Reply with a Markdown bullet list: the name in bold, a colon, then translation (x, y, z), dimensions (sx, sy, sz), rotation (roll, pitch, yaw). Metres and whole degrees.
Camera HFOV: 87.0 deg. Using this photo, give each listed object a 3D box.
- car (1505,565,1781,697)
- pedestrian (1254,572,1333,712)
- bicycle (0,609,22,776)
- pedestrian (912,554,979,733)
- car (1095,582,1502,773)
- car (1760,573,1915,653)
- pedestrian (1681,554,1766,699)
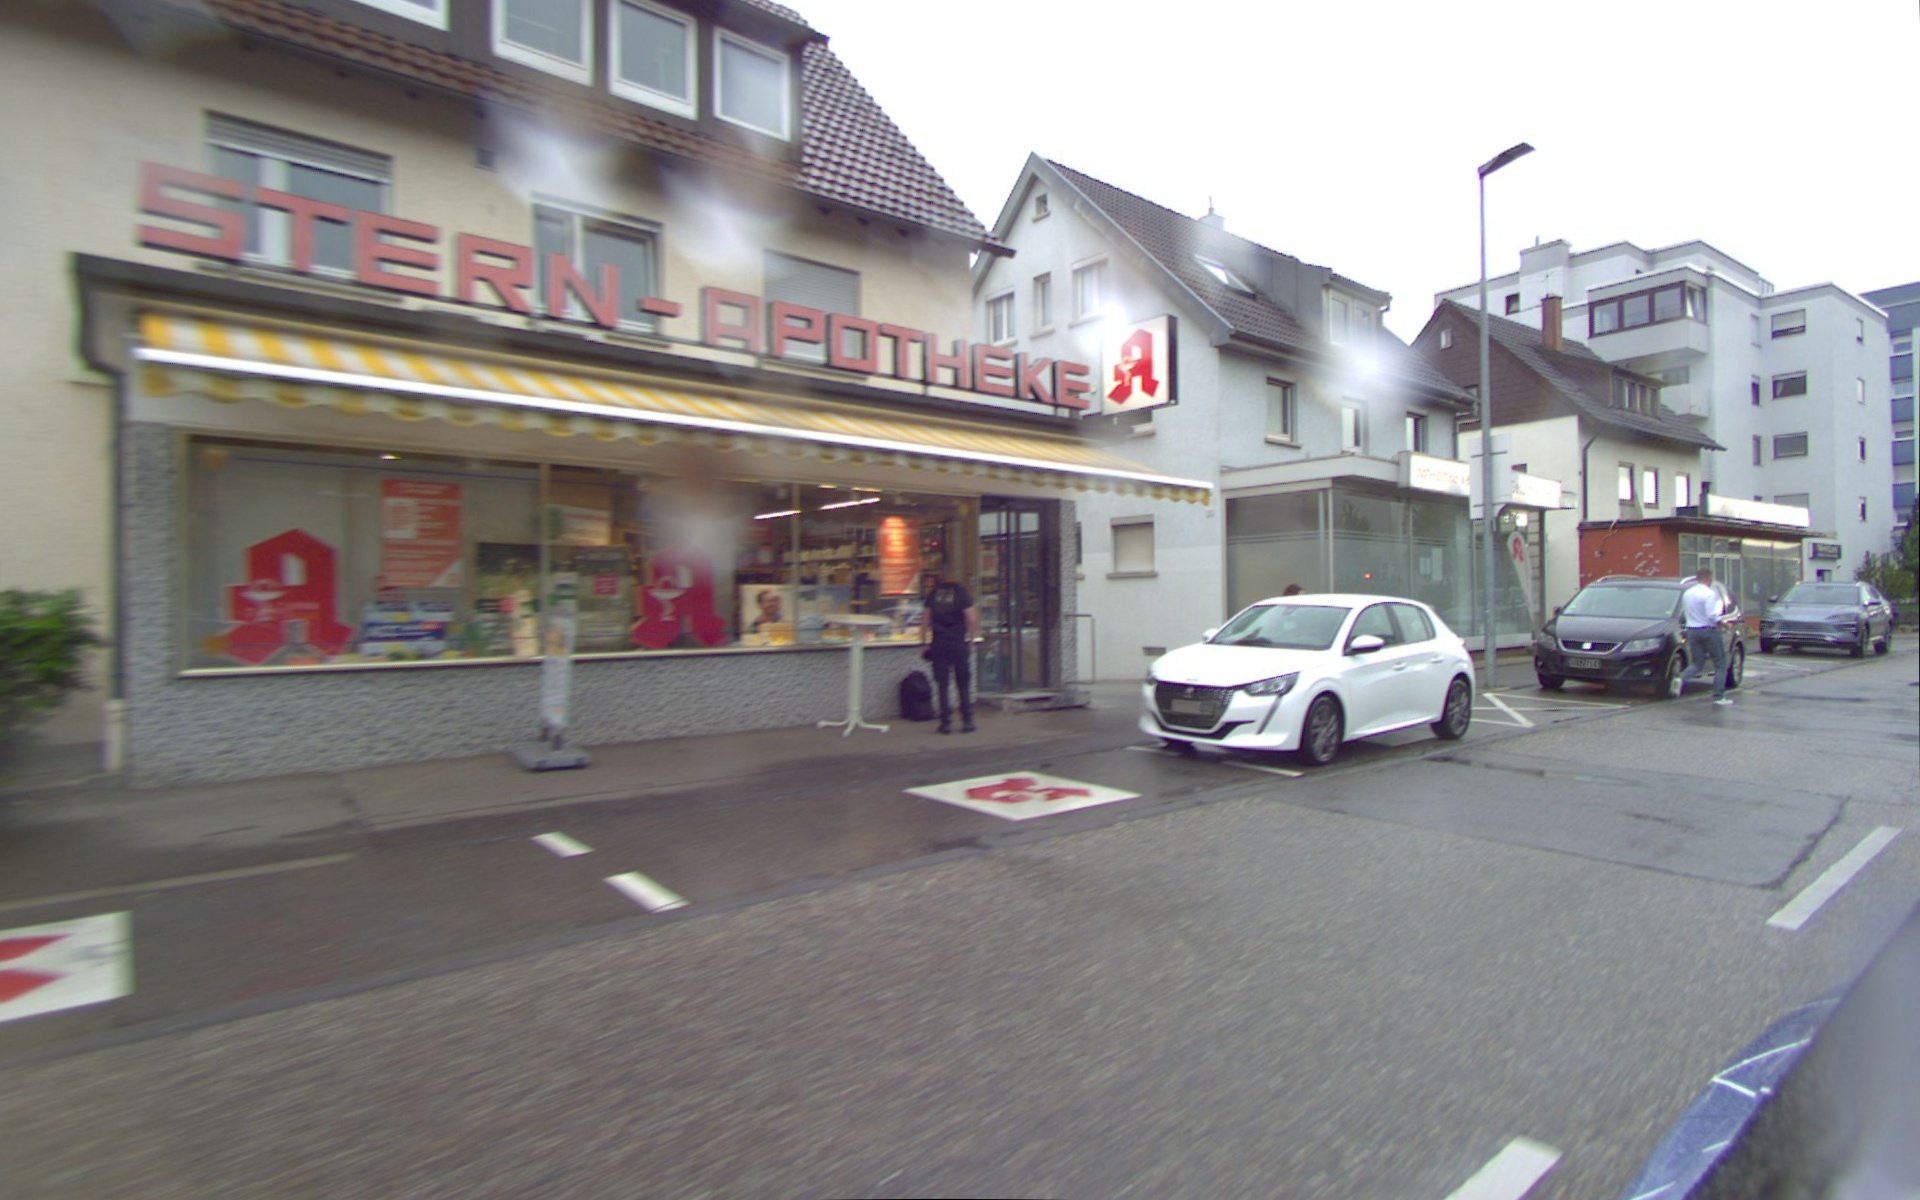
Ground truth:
- **car**: translation (10.607, 0.330, 15.587), dimensions (4.871, 1.716, 2.042), rotation (-2, 3, -37)
- **pedestrian**: translation (3.941, 0.476, 11.961), dimensions (0.612, 1.588, 0.647), rotation (0, -1, -37)
- **bicycle**: translation (-6.294, 0.652, 5.883), dimensions (0.609, 1.060, 1.656), rotation (0, 4, -20)
- **pedestrian**: translation (-0.136, 0.410, 9.927), dimensions (0.543, 1.700, 0.514), rotation (-1, -1, 15)
- **car**: translation (3.421, 0.578, 9.886), dimensions (4.127, 1.466, 1.820), rotation (0, 2, -39)
- **car**: translation (20.794, 0.213, 23.928), dimensions (4.705, 1.663, 1.880), rotation (-2, 3, -38)
- **pedestrian**: translation (10.370, 0.350, 13.763), dimensions (0.635, 1.915, 0.624), rotation (0, 0, -3)
